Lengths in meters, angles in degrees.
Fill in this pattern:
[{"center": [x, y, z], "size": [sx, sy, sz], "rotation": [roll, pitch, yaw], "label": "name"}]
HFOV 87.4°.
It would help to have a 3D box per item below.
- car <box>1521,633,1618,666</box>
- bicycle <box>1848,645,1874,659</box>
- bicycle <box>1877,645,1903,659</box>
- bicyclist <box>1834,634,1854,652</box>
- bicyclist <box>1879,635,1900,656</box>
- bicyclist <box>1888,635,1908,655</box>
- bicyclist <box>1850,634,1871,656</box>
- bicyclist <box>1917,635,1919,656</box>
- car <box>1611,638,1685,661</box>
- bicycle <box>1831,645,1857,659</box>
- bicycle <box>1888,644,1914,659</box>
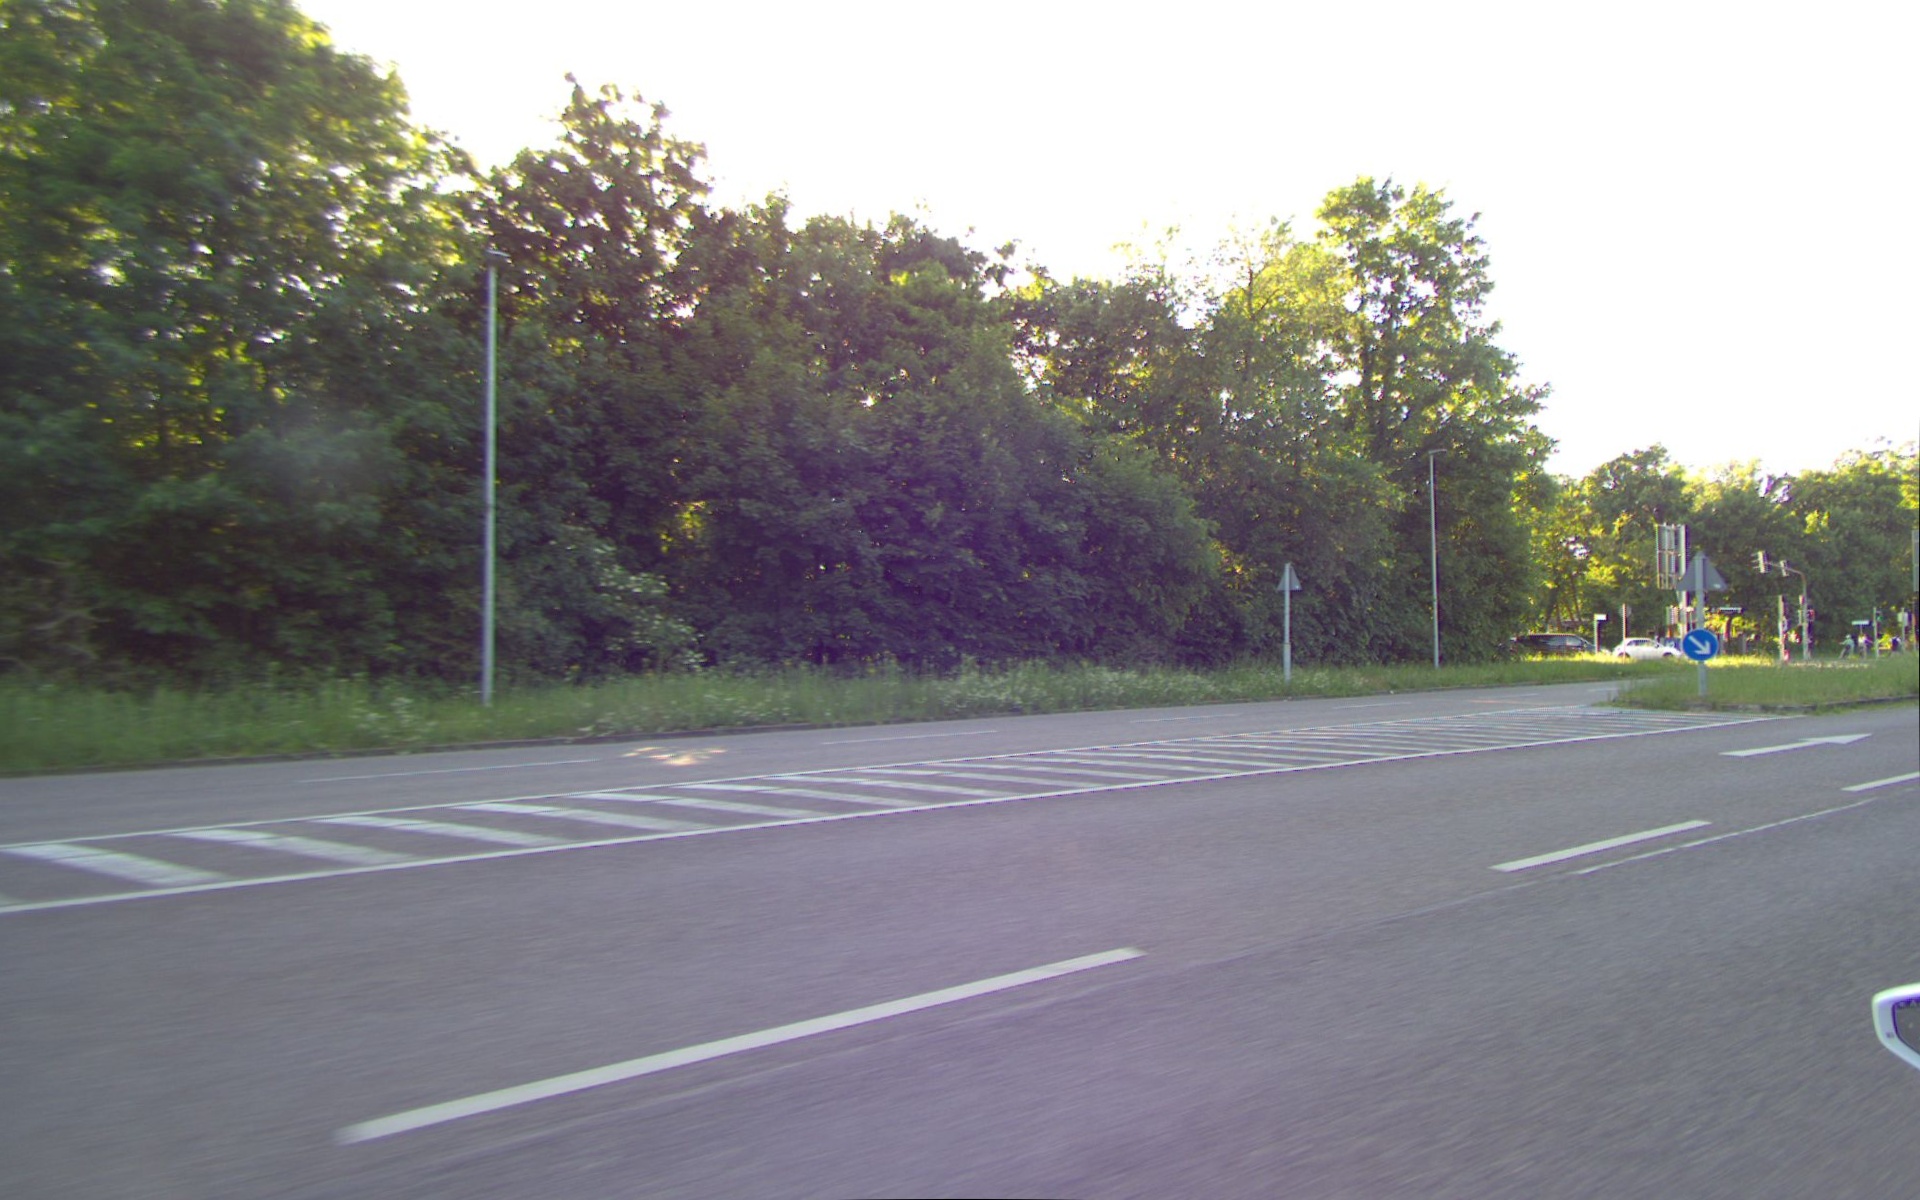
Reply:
[{"center": [36.359, 2.941, 59.999], "size": [4.849, 1.854, 1.924], "rotation": [-2, -2, 32], "label": "car"}, {"center": [60.061, 3.483, 66.950], "size": [1.888, 0.926, 0.711], "rotation": [1, -2, -30], "label": "bicycle"}, {"center": [61.412, 3.417, 66.347], "size": [1.888, 0.926, 0.711], "rotation": [1, -2, -30], "label": "bicycle"}, {"center": [59.645, 2.908, 67.780], "size": [0.978, 1.208, 0.711], "rotation": [1, -2, -30], "label": "bicyclist"}, {"center": [61.408, 2.978, 66.357], "size": [0.978, 1.373, 0.711], "rotation": [1, -2, -30], "label": "bicyclist"}, {"center": [62.784, 2.995, 67.210], "size": [0.978, 1.360, 0.711], "rotation": [1, -2, -30], "label": "bicyclist"}, {"center": [60.028, 2.995, 66.951], "size": [0.978, 1.408, 0.707], "rotation": [1, -2, -30], "label": "bicyclist"}, {"center": [62.388, 2.949, 64.757], "size": [0.978, 1.356, 0.711], "rotation": [1, -2, -30], "label": "bicyclist"}, {"center": [43.291, 3.107, 63.328], "size": [3.734, 1.407, 1.924], "rotation": [-2, -3, 32], "label": "car"}, {"center": [59.647, 3.508, 67.760], "size": [1.888, 0.926, 0.711], "rotation": [0, -2, -30], "label": "bicycle"}, {"center": [63.177, 3.449, 67.424], "size": [1.888, 0.926, 0.711], "rotation": [1, -2, -30], "label": "bicycle"}]
